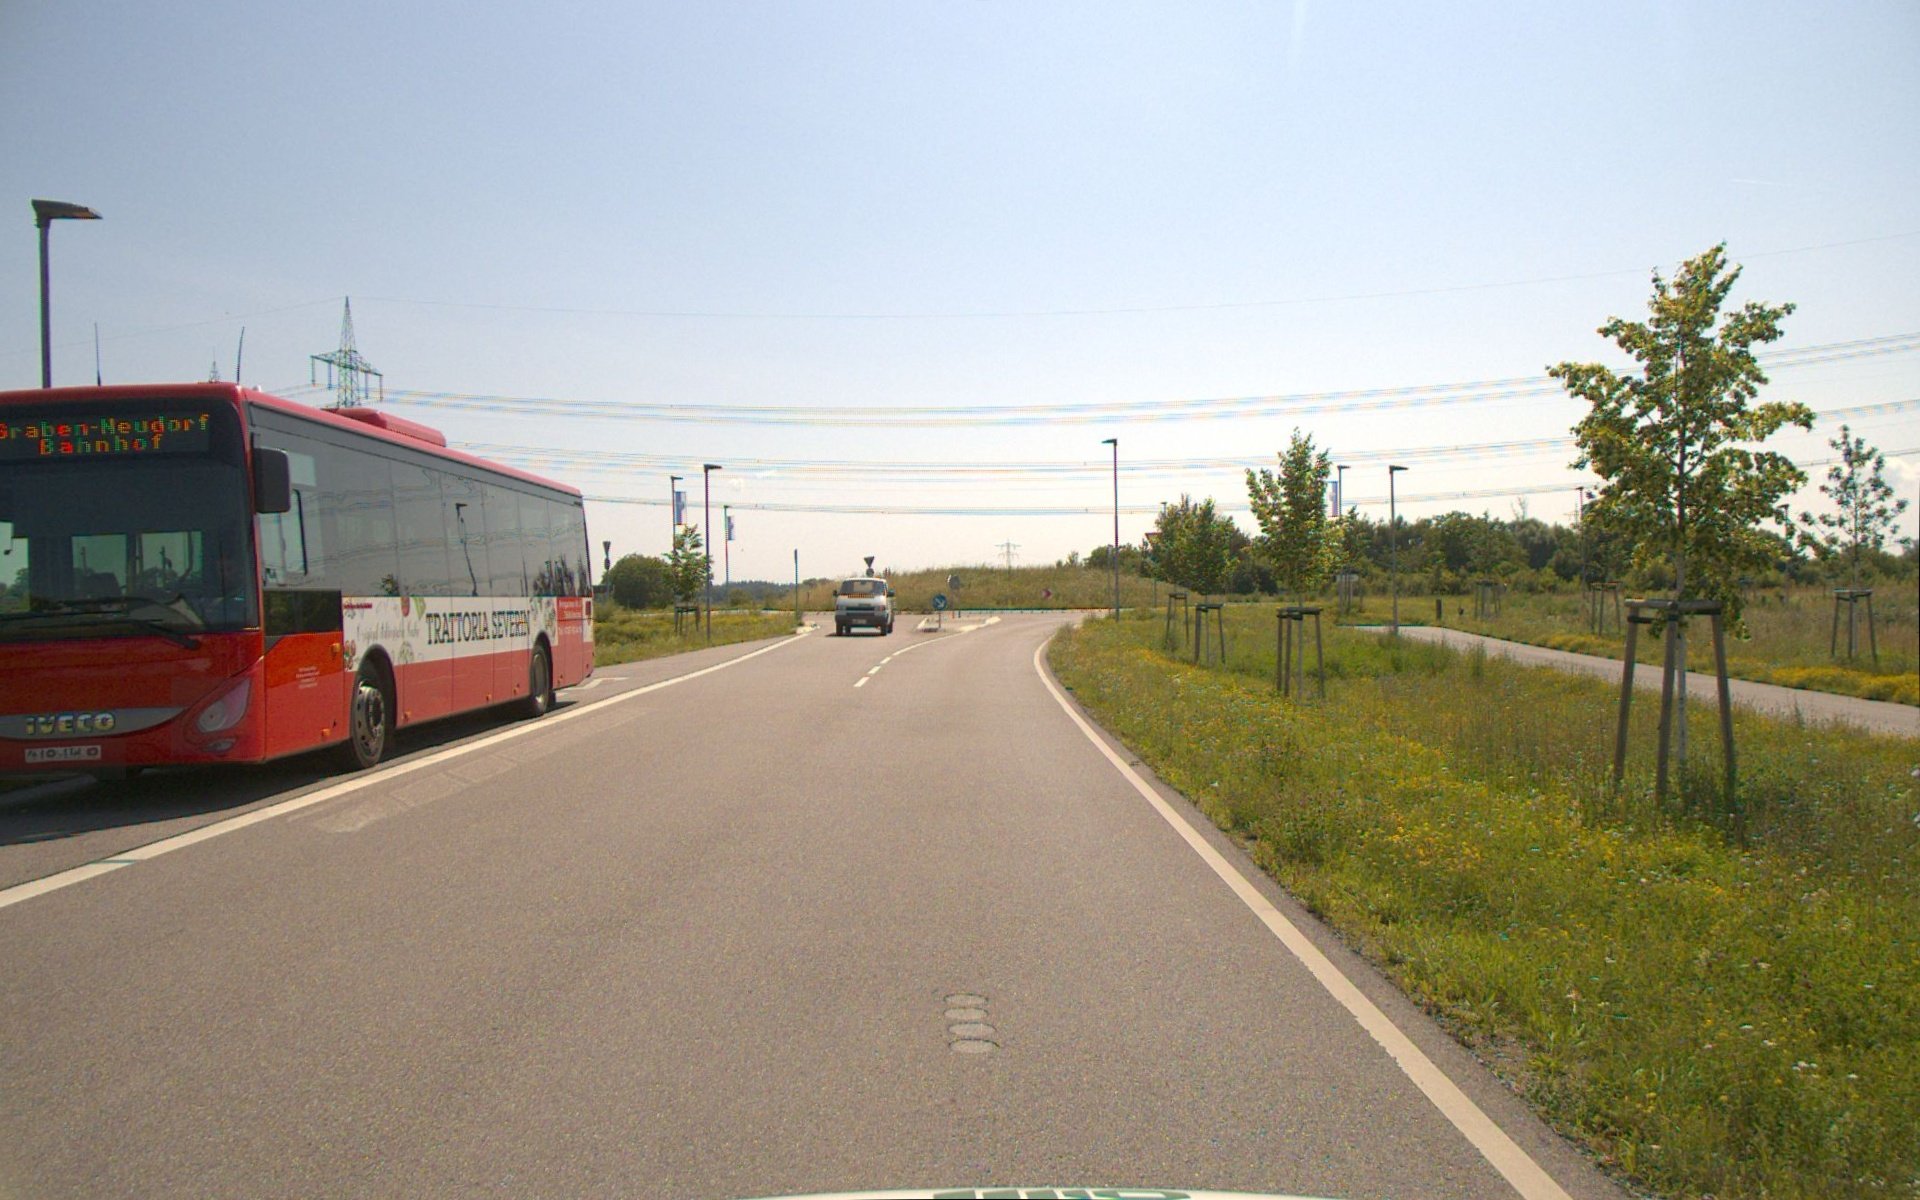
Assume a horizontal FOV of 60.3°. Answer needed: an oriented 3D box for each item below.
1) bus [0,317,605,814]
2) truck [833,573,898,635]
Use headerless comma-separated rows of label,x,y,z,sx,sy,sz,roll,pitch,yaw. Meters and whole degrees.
bus,-6.351,-0.249,17.467,2.738,3.344,12.225,-2,0,-1
truck,-3.295,0.106,58.635,1.912,2.019,5.644,-2,0,0
